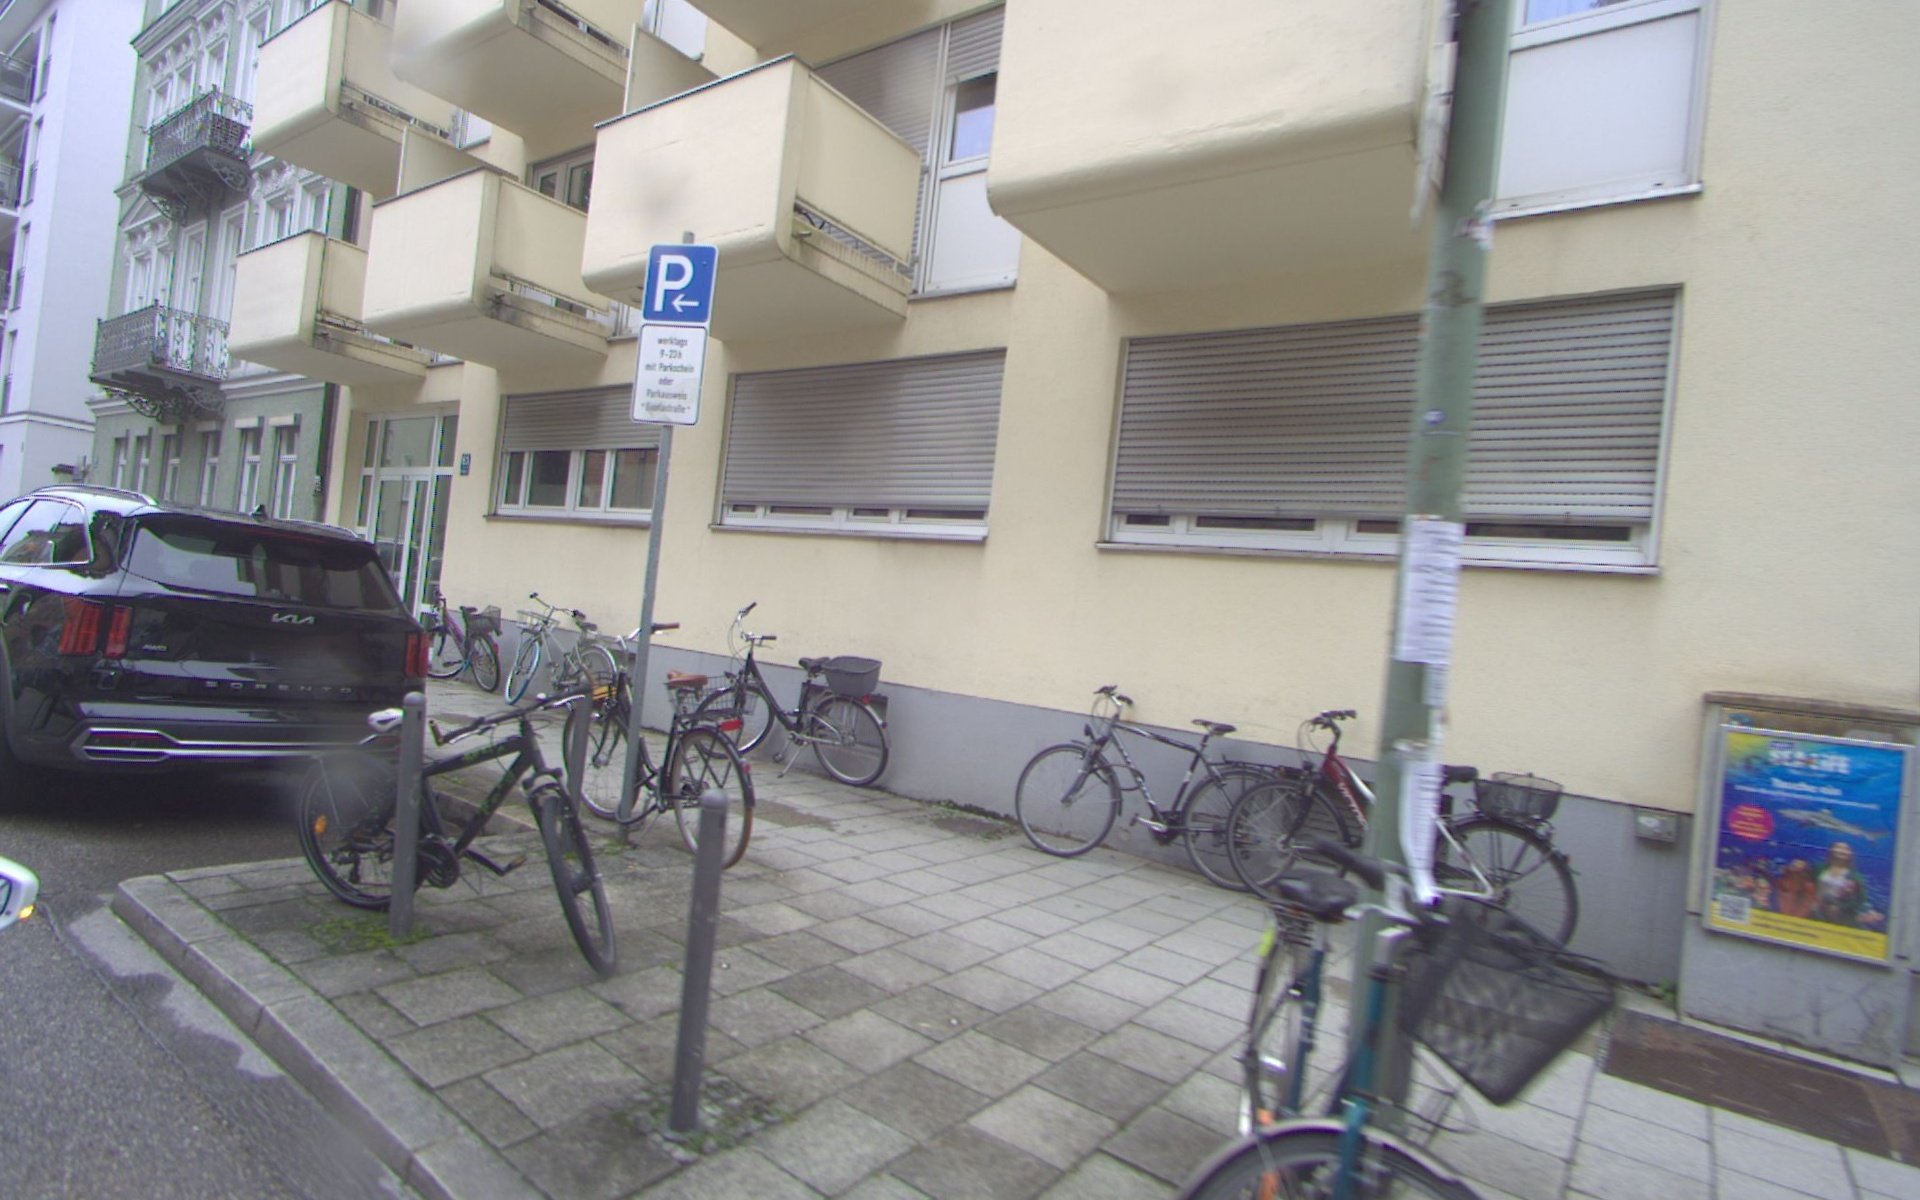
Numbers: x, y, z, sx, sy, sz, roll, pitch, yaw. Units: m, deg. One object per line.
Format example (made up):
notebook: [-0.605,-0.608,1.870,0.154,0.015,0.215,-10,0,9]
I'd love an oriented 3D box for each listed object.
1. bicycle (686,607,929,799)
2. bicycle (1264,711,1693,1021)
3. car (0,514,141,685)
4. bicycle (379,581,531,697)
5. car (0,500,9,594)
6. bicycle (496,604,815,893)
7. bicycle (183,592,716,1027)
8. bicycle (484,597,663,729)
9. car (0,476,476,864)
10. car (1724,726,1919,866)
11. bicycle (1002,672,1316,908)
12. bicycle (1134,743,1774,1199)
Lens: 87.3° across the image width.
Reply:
bicycle: [-1.209,0.758,7.849,1.733,1.221,0.688,5,-1,31]
bicycle: [2.507,1.205,5.006,1.738,1.067,0.579,5,-1,41]
car: [-10.243,-0.169,10.297,4.349,1.476,1.729,5,-3,36]
bicycle: [-5.496,0.414,10.913,1.734,1.067,0.580,5,-1,32]
car: [-14.435,-0.706,13.251,4.680,1.570,1.860,5,-1,36]
bicycle: [-1.685,0.693,5.348,1.935,1.168,0.579,5,-1,41]
bicycle: [-1.922,0.654,3.720,1.927,1.168,0.581,6,0,24]
bicycle: [-3.796,0.590,9.824,1.807,1.067,0.580,5,-1,32]
car: [-5.197,0.218,6.356,4.480,1.658,1.850,5,-1,36]
car: [13.392,2.832,14.163,1.666,1.489,4.613,6,-1,0]
bicycle: [1.161,1.076,6.141,1.738,1.067,0.579,5,-1,41]
bicycle: [0.835,0.979,2.235,0.761,1.078,1.764,6,-1,14]
